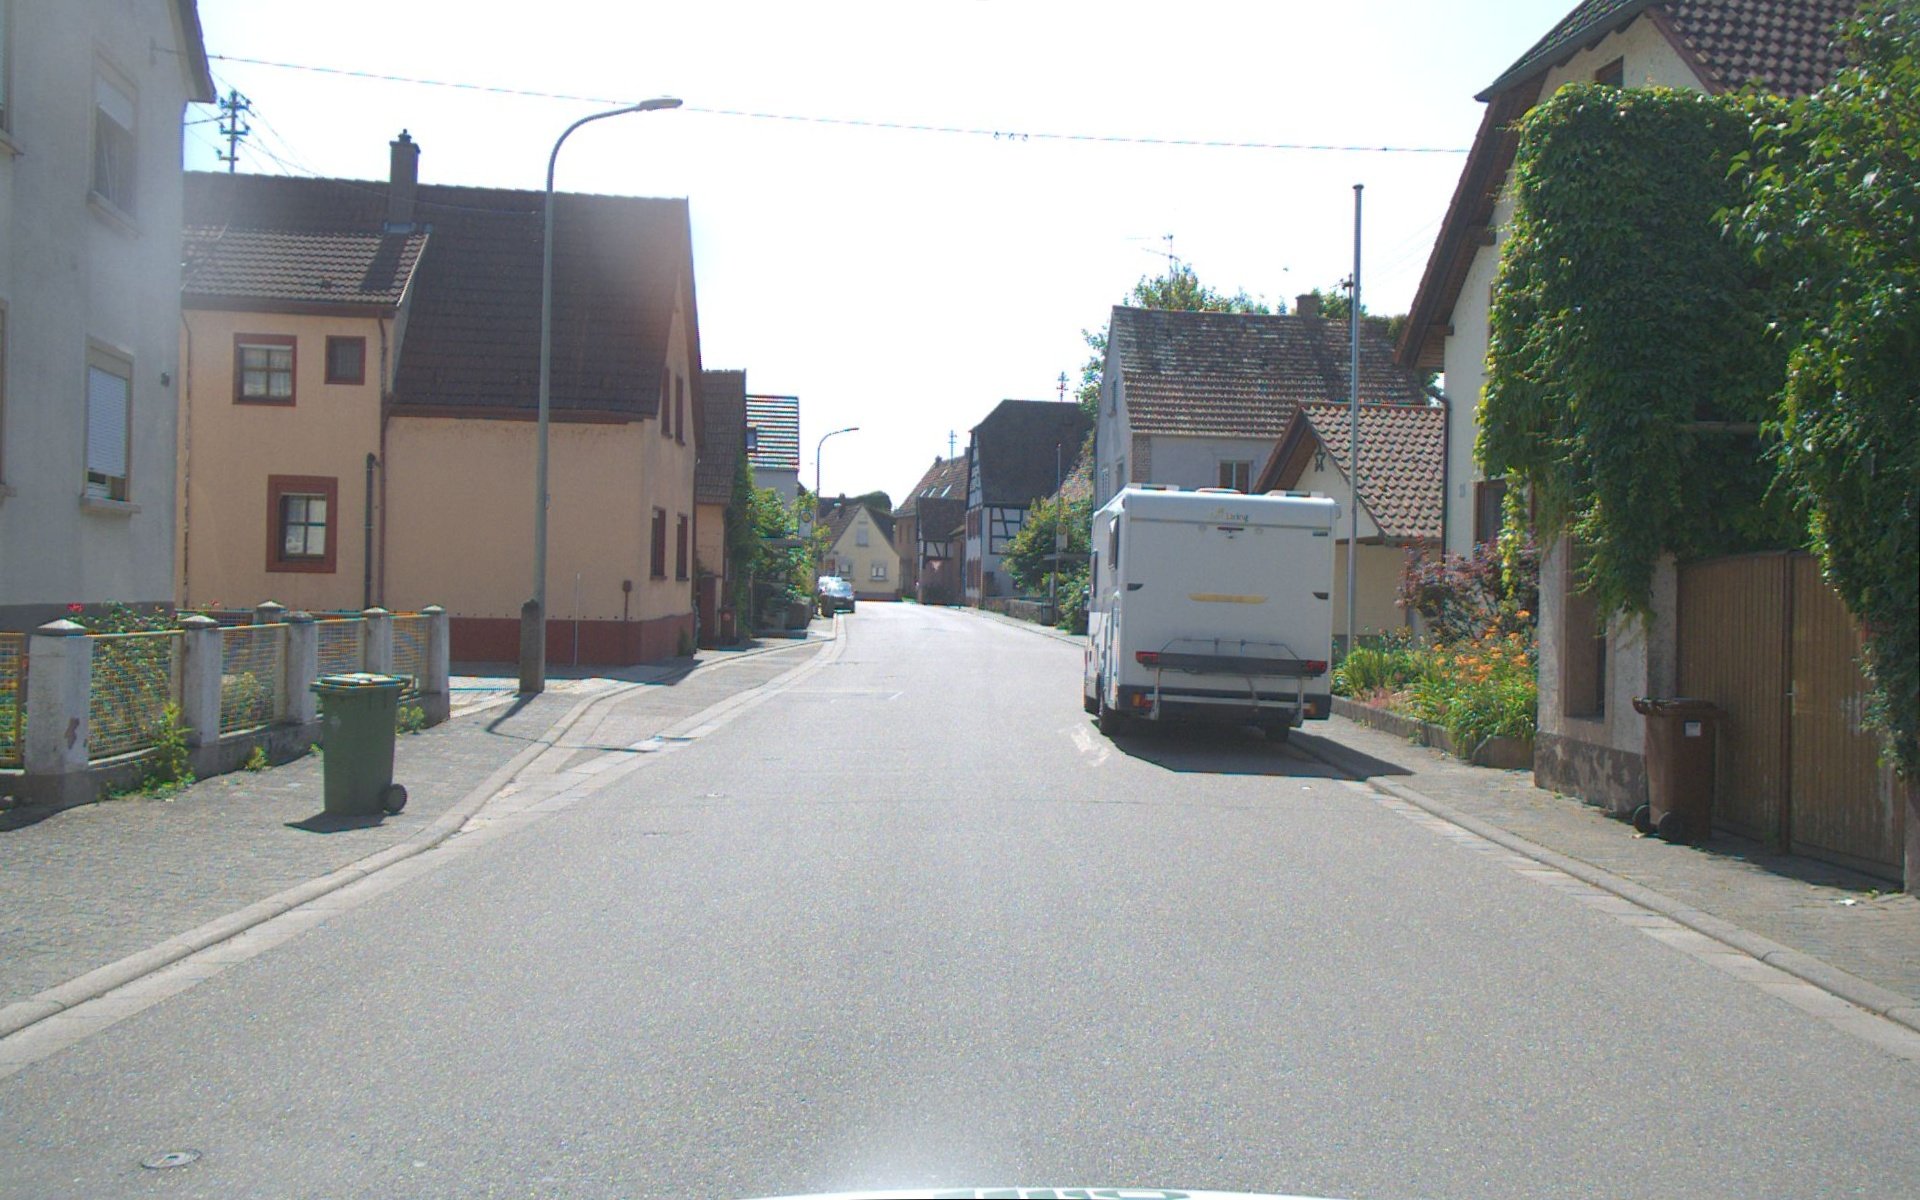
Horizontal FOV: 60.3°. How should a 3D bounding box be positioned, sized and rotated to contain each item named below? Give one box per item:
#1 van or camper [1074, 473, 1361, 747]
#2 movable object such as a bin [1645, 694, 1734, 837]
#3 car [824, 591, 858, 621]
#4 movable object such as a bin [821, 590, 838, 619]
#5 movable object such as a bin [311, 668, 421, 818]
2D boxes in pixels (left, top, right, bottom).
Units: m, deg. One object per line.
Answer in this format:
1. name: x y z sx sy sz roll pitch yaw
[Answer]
1. van or camper: 2.788 0.105 19.159 2.471 2.744 4.554 1 0 -2
2. movable object such as a bin: 4.942 1.114 11.222 0.404 0.928 0.438 0 0 -1
3. car: -5.887 0.272 82.370 1.481 1.461 3.510 0 0 -1
4. movable object such as a bin: -5.527 0.189 69.921 0.674 1.206 0.714 0 0 -1
5. movable object such as a bin: -4.081 0.972 11.387 0.528 0.966 0.553 2 0 -1
